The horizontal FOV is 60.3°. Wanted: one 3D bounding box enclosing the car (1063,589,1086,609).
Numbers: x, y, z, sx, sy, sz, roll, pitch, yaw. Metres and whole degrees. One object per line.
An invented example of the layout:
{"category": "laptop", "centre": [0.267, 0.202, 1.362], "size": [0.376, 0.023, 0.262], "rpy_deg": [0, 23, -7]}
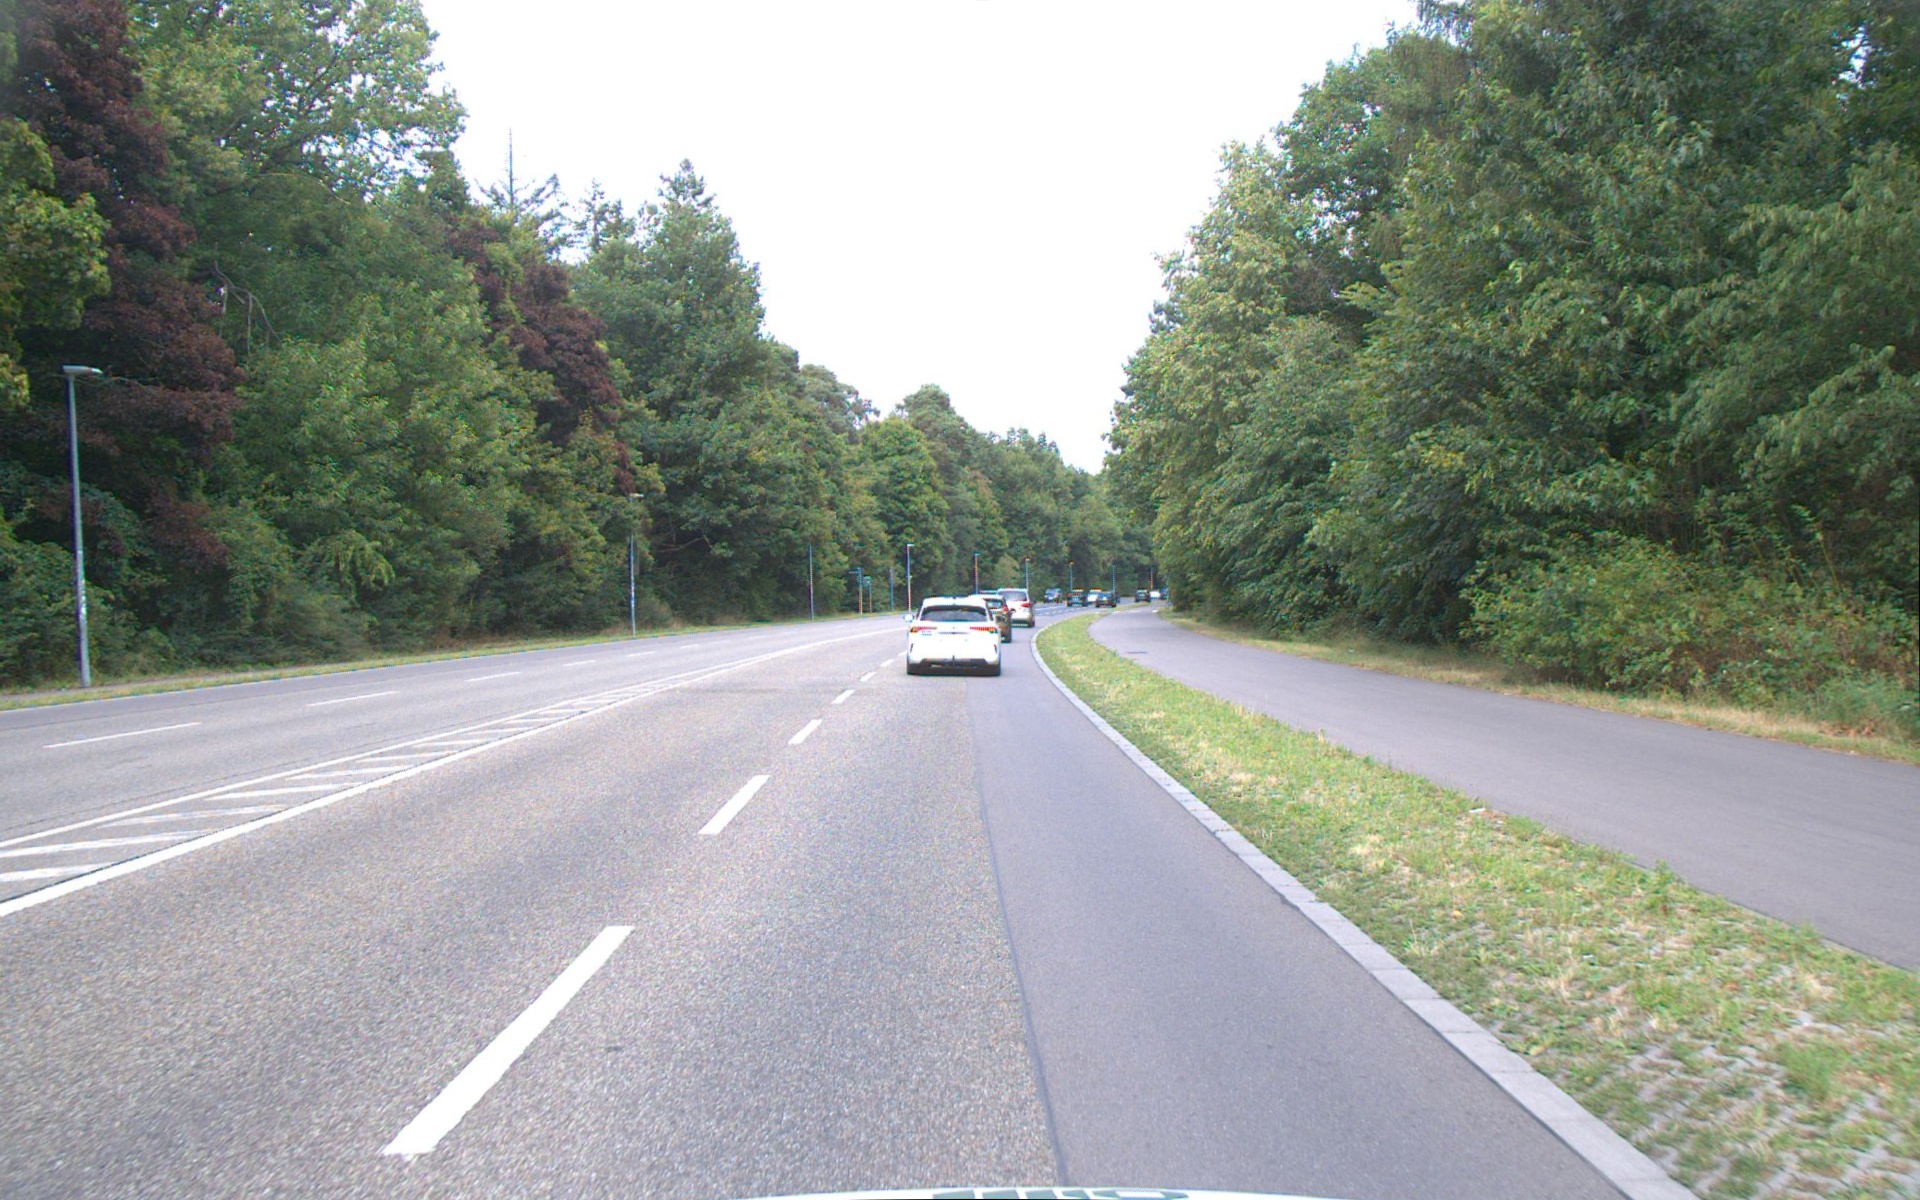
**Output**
{"category": "car", "centre": [11.393, -0.093, 164.312], "size": [1.951, 1.814, 4.003], "rpy_deg": [2, -1, 9]}

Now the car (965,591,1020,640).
{"category": "car", "centre": [0.991, 0.492, 51.928], "size": [1.602, 1.445, 4.000], "rpy_deg": [2, -1, 0]}

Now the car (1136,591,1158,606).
{"category": "car", "centre": [23.260, -0.193, 205.780], "size": [1.951, 1.814, 4.002], "rpy_deg": [2, -1, 16]}

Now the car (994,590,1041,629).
{"category": "car", "centre": [2.567, 0.421, 73.558], "size": [1.952, 1.635, 4.001], "rpy_deg": [2, -1, 2]}

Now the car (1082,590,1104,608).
{"category": "car", "centre": [14.647, -0.123, 181.821], "size": [1.951, 1.814, 4.003], "rpy_deg": [2, -1, 10]}

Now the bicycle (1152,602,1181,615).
{"category": "bicycle", "centre": [15.854, 0.628, 126.868], "size": [2.137, 1.011, 0.708], "rpy_deg": [0, 0, 36]}

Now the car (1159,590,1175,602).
{"category": "car", "centre": [29.358, -0.575, 234.602], "size": [1.951, 1.736, 4.004], "rpy_deg": [0, 0, 11]}

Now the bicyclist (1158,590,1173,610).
{"category": "bicyclist", "centre": [15.758, -0.010, 126.920], "size": [0.883, 1.496, 0.708], "rpy_deg": [0, 0, 36]}

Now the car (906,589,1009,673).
{"category": "car", "centre": [-0.006, 0.577, 31.818], "size": [1.798, 1.435, 4.491], "rpy_deg": [2, -1, 1]}

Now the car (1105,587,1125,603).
{"category": "car", "centre": [18.692, -0.590, 199.112], "size": [1.951, 1.814, 4.003], "rpy_deg": [2, -1, 11]}

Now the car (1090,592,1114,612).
{"category": "car", "centre": [13.811, 0.182, 160.949], "size": [1.951, 1.814, 4.003], "rpy_deg": [2, -1, 9]}

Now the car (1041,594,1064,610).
{"category": "car", "centre": [10.831, 0.239, 193.301], "size": [1.951, 1.822, 4.751], "rpy_deg": [2, -1, 11]}

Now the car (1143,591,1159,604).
{"category": "car", "centre": [28.533, -0.353, 246.900], "size": [1.848, 1.847, 4.003], "rpy_deg": [2, -1, 12]}
